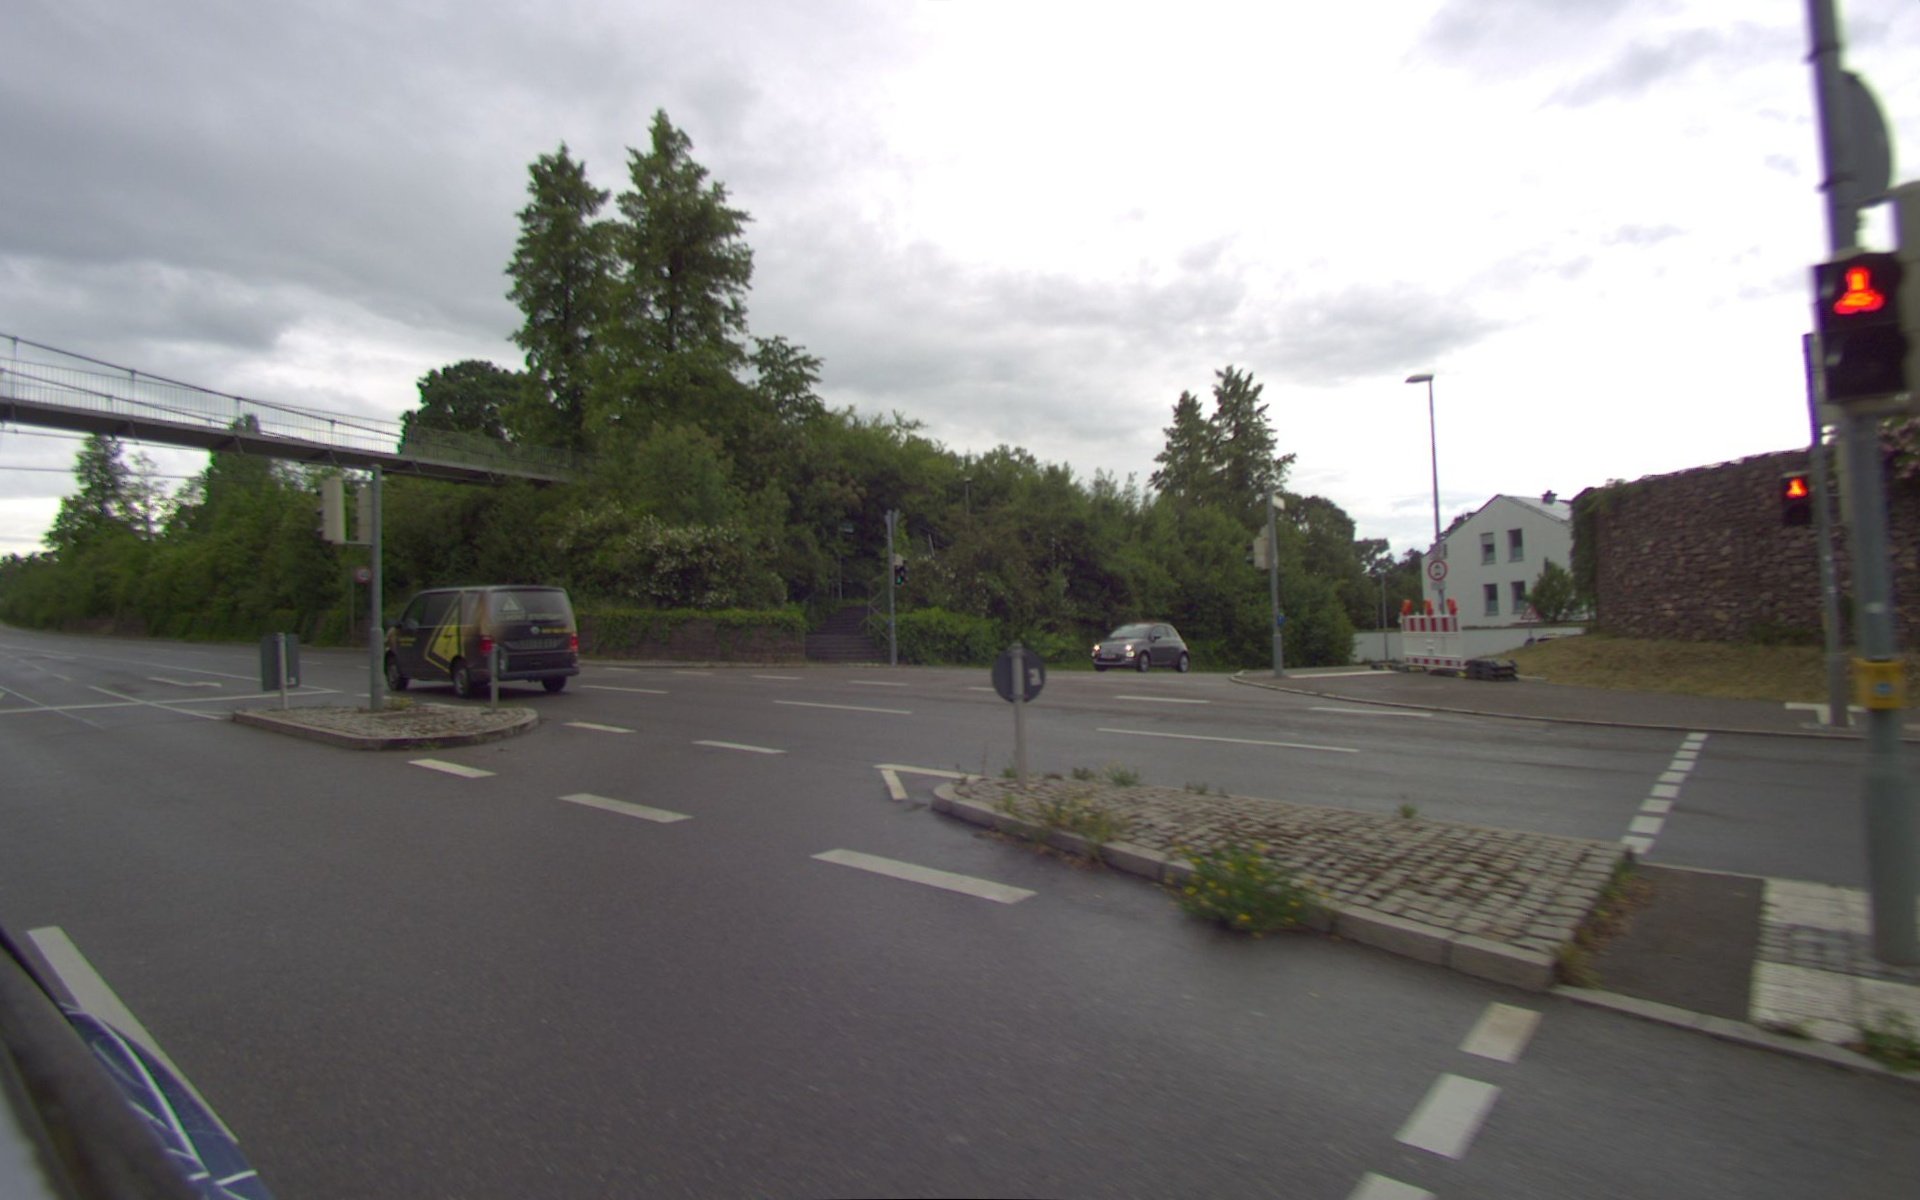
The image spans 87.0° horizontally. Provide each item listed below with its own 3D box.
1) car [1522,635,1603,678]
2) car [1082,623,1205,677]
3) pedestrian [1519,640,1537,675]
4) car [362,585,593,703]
[{"bbox_3d":[25.383,2.348,42.597,3.940,1.716,1.896,2,-4,-44],"label":"car"},{"bbox_3d":[5.511,1.483,30.142,1.692,1.484,3.942,-4,-4,44],"label":"car"},{"bbox_3d":[24.382,2.461,43.409,0.548,1.450,0.474,-2,-2,43],"label":"pedestrian"},{"bbox_3d":[-9.184,0.762,19.047,5.090,1.934,1.993,-1,-1,40],"label":"car"}]
